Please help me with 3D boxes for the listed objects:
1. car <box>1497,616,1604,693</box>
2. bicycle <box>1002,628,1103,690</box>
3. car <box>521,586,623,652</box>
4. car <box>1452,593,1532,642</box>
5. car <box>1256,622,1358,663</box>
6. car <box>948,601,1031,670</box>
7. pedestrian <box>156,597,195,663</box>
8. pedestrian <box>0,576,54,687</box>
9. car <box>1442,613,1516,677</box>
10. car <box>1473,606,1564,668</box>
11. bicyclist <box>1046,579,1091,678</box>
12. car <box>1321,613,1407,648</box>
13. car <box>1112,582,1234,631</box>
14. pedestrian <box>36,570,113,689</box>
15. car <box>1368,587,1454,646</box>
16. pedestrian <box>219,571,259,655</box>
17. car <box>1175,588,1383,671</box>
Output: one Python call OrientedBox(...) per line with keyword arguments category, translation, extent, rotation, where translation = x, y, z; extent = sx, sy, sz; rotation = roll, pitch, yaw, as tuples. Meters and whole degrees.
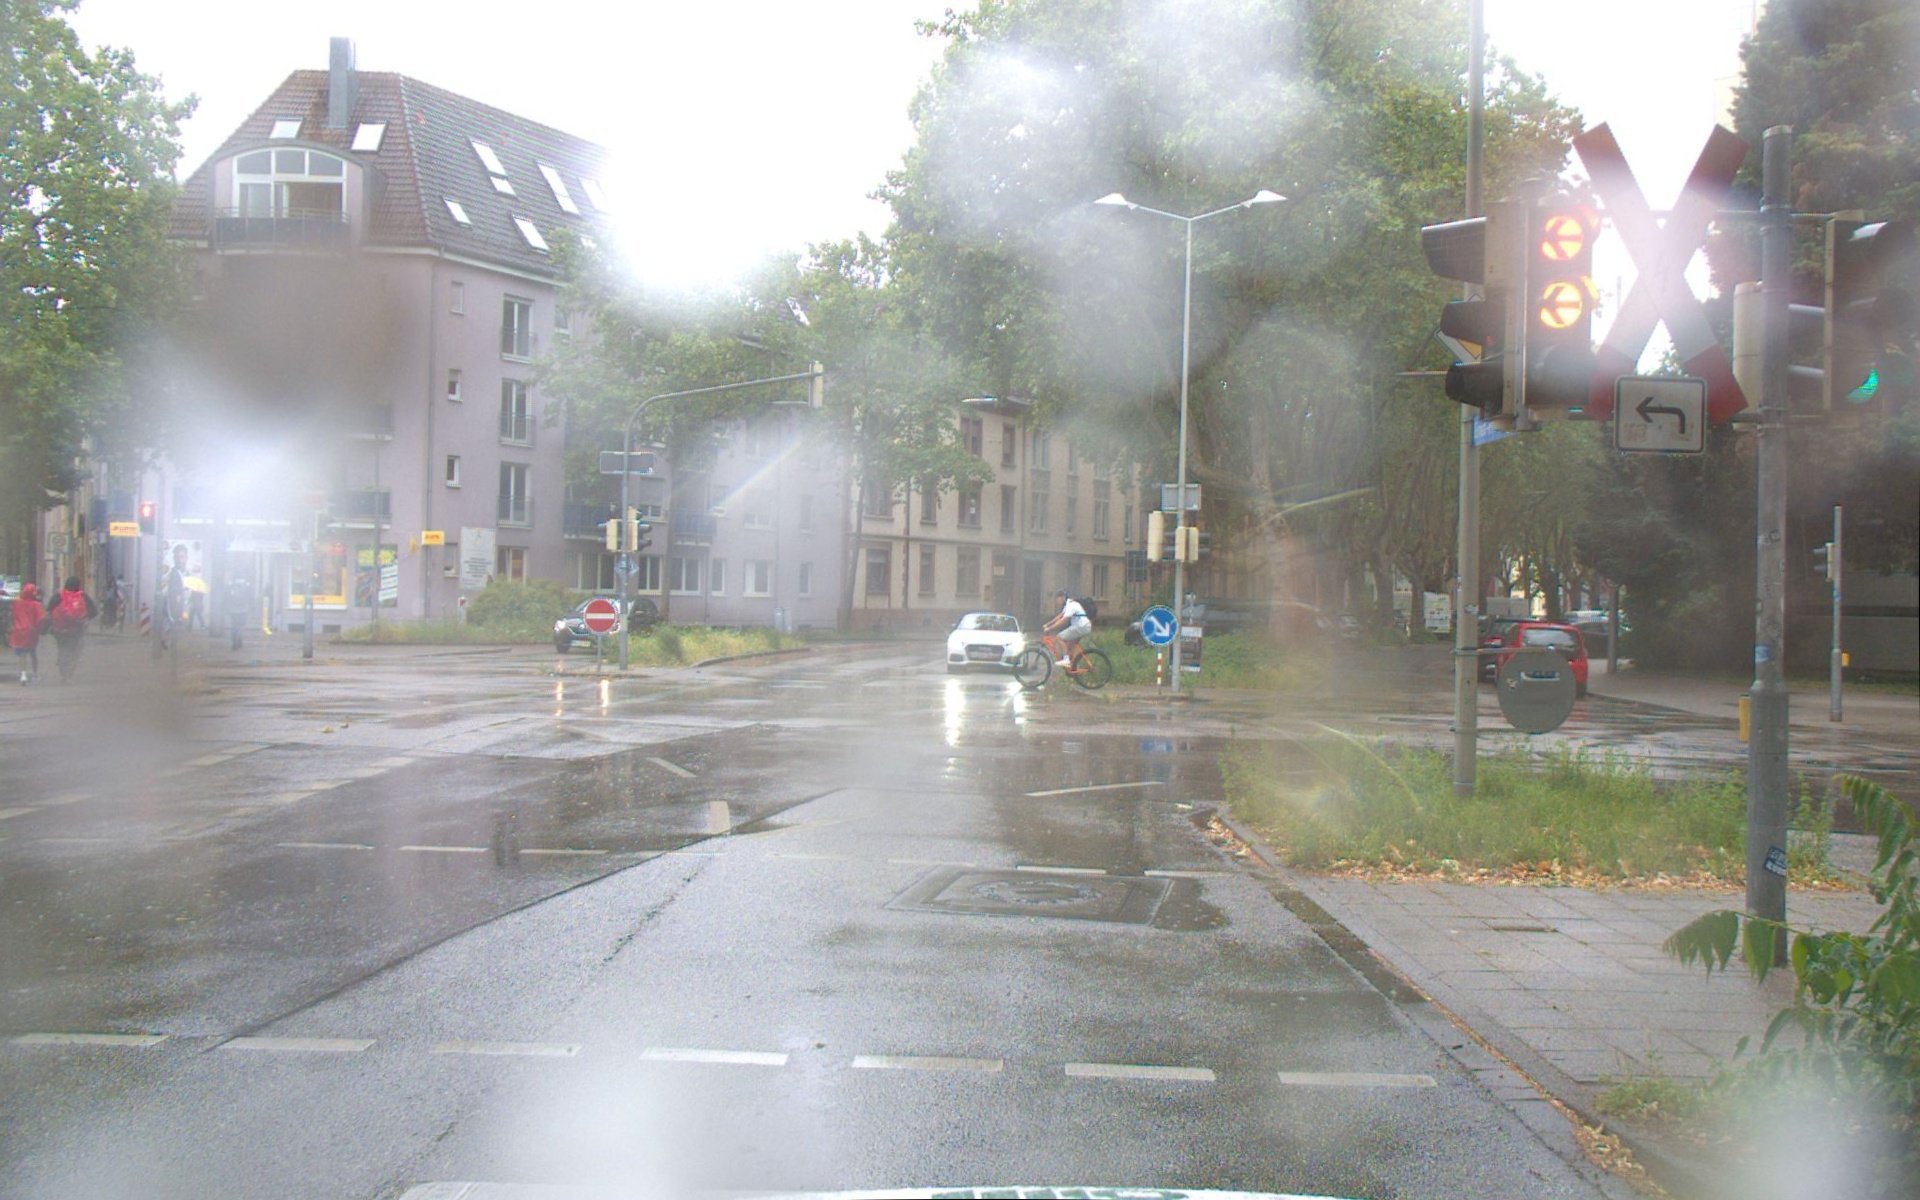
OrientedBox(category="car", translation=(13.047, 1.166, 36.735), extent=(1.754, 1.524, 4.003), rotation=(1, 0, 13))
OrientedBox(category="bicycle", translation=(1.754, 1.102, 31.158), extent=(1.833, 1.100, 0.657), rotation=(1, 0, 7))
OrientedBox(category="car", translation=(-9.629, 0.446, 41.346), extent=(1.716, 1.538, 3.838), rotation=(1, 0, -2))
OrientedBox(category="car", translation=(33.673, 1.094, 104.810), extent=(1.974, 2.999, 4.720), rotation=(1, 0, -31))
OrientedBox(category="car", translation=(13.801, 1.661, 65.795), extent=(3.902, 1.512, 2.002), rotation=(1, 0, 12))
OrientedBox(category="car", translation=(0.704, 0.799, 39.085), extent=(1.845, 1.461, 4.001), rotation=(1, 0, 1))
OrientedBox(category="pedestrian", translation=(-17.277, 0.650, 36.425), extent=(0.643, 1.420, 0.773), rotation=(1, 0, -35))
OrientedBox(category="pedestrian", translation=(-13.309, 0.440, 23.390), extent=(0.669, 1.546, 0.658), rotation=(1, 0, -9))
OrientedBox(category="car", translation=(14.986, 1.258, 47.908), extent=(1.745, 1.757, 4.003), rotation=(1, 0, 13))
OrientedBox(category="car", translation=(13.893, 0.881, 41.305), extent=(1.745, 1.371, 3.932), rotation=(2, 1, 13))
OrientedBox(category="bicyclist", translation=(2.044, 0.535, 31.124), extent=(0.778, 1.817, 0.697), rotation=(1, -1, 7))
OrientedBox(category="car", translation=(19.262, 1.448, 78.925), extent=(3.902, 1.574, 2.002), rotation=(1, 0, 12))
OrientedBox(category="car", translation=(6.937, 0.209, 53.824), extent=(3.784, 1.512, 1.717), rotation=(1, 0, 12))
OrientedBox(category="pedestrian", translation=(-12.619, 0.405, 23.586), extent=(0.715, 1.653, 0.816), rotation=(0, 1, -8))
OrientedBox(category="car", translation=(23.956, 0.855, 88.067), extent=(2.005, 2.999, 4.742), rotation=(1, 0, -21))
OrientedBox(category="pedestrian", translation=(-16.327, 0.292, 37.465), extent=(0.777, 1.888, 0.676), rotation=(1, 0, -25))
OrientedBox(category="car", translation=(6.306, 0.561, 32.761), extent=(3.902, 1.512, 2.002), rotation=(1, 0, 12))
